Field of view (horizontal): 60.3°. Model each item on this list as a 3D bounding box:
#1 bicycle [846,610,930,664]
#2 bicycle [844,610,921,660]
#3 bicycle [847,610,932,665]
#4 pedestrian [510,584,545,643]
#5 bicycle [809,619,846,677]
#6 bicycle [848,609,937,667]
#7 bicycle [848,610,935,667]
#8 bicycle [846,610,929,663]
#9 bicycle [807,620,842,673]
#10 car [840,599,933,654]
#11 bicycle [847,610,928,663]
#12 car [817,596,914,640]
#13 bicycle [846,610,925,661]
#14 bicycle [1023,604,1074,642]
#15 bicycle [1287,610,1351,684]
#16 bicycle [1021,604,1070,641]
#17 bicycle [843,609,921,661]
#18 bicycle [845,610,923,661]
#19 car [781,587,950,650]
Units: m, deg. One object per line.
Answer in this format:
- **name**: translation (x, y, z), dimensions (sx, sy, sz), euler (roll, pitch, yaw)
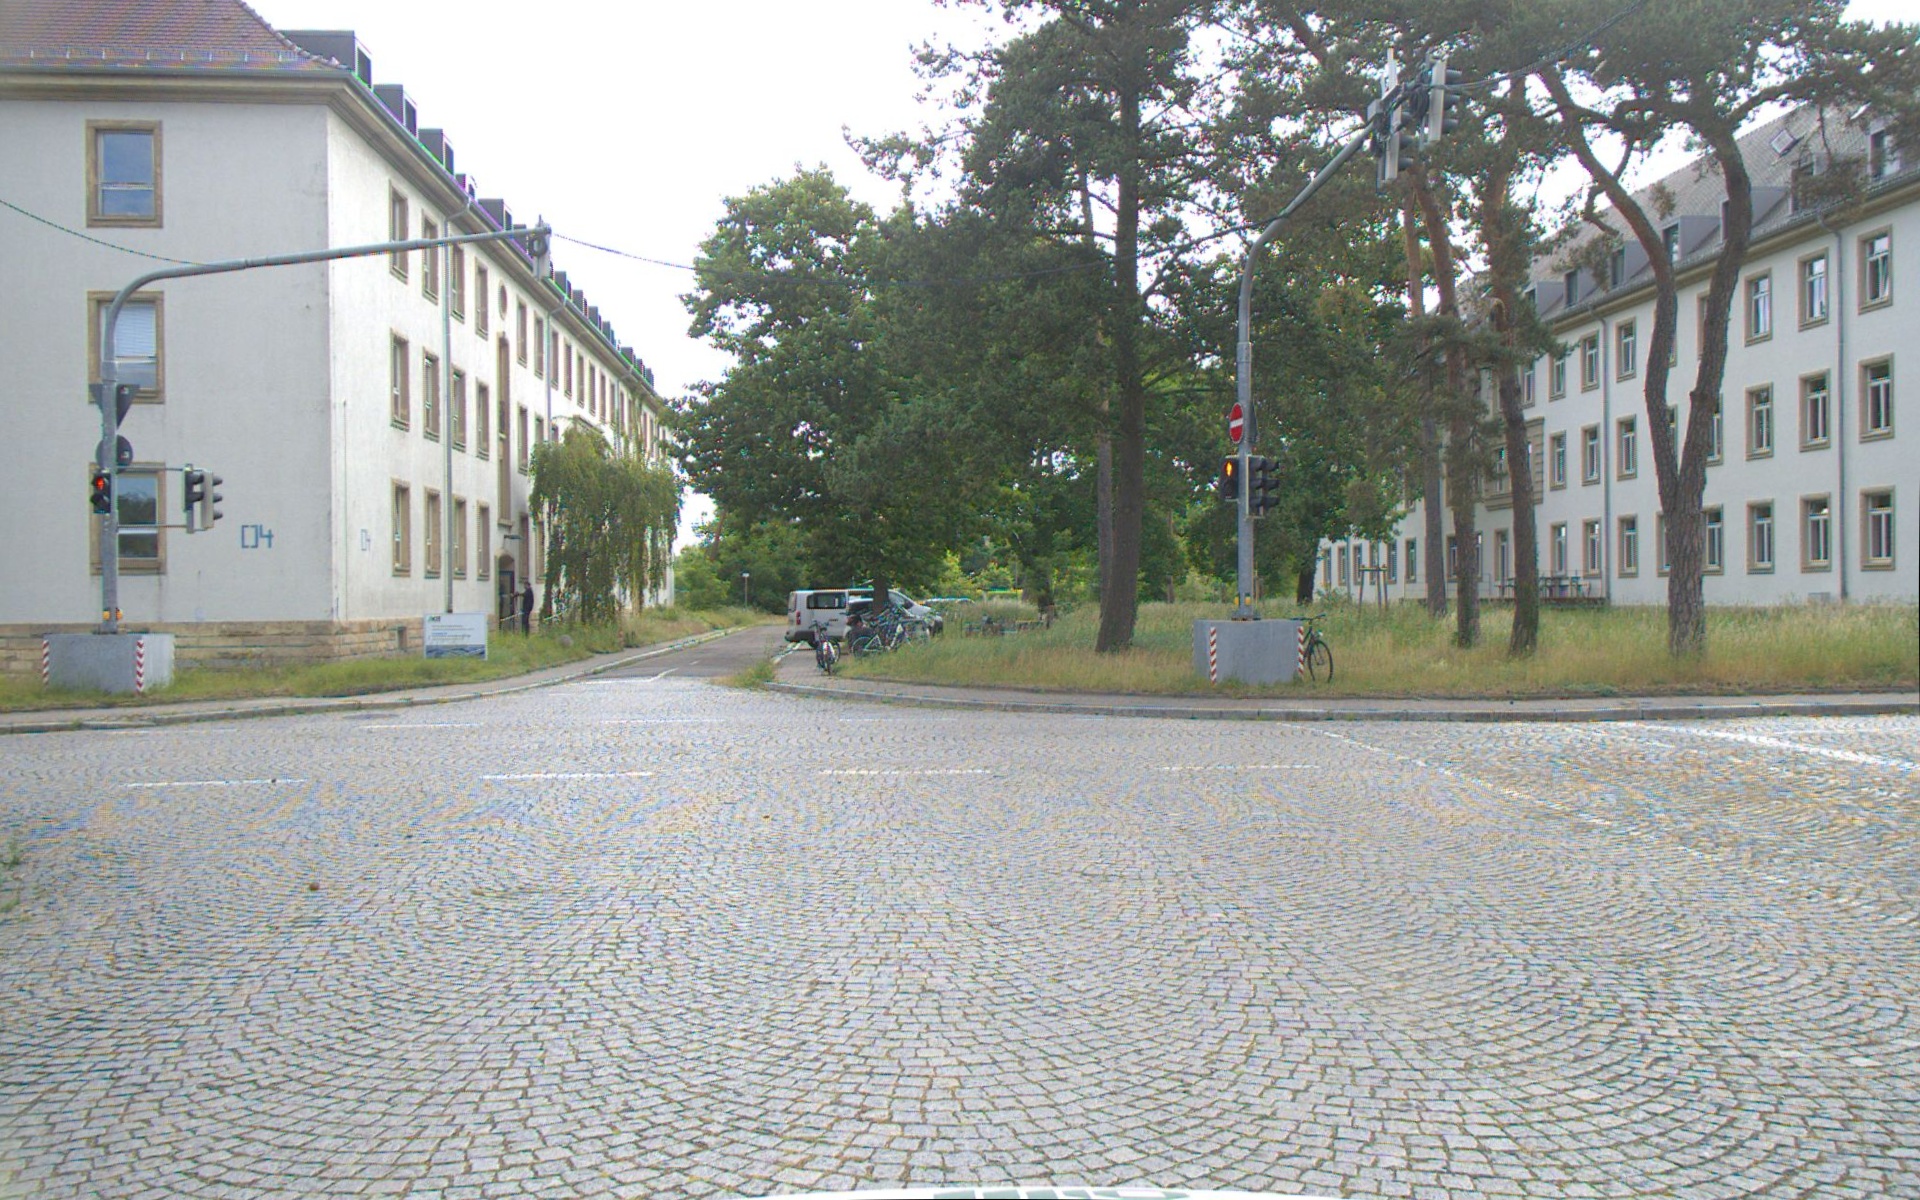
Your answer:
- **bicycle**: translation (-1.708, 0.872, 39.219), dimensions (1.944, 1.269, 0.623), euler (0, -1, -6)
- **bicycle**: translation (-1.990, 0.897, 42.448), dimensions (1.944, 1.269, 0.623), euler (0, -1, -6)
- **bicycle**: translation (-1.642, 0.865, 38.363), dimensions (1.944, 1.269, 0.623), euler (0, -1, -6)
- **pedestrian**: translation (-13.580, 0.417, 51.903), dimensions (0.820, 1.812, 0.941), euler (0, 0, 1)
- **bicycle**: translation (-2.667, 0.947, 33.350), dimensions (0.609, 1.133, 1.988), euler (0, -1, -1)
- **bicycle**: translation (-1.509, 0.853, 36.814), dimensions (1.944, 1.269, 0.623), euler (0, -1, -6)
- **bicycle**: translation (-1.557, 0.858, 37.441), dimensions (1.944, 1.269, 0.623), euler (0, -1, -6)
- **bicycle**: translation (-1.751, 0.877, 39.850), dimensions (1.944, 1.269, 0.623), euler (0, -1, -6)
- **bicycle**: translation (-2.882, 0.978, 35.292), dimensions (0.609, 1.101, 1.677), euler (0, -1, 0)
- **car**: translation (-2.301, 0.806, 51.409), dimensions (2.792, 1.585, 1.471), euler (-1, 1, -5)
- **bicycle**: translation (-1.776, 0.881, 40.375), dimensions (1.944, 1.269, 0.623), euler (0, -1, -6)
- **car**: translation (-3.957, 0.731, 68.687), dimensions (3.953, 1.748, 1.679), euler (-1, -1, -5)
- **bicycle**: translation (-1.874, 0.890, 41.448), dimensions (1.944, 1.269, 0.623), euler (0, -1, -6)
- **bicycle**: translation (2.698, 0.700, 50.700), dimensions (1.518, 1.144, 0.401), euler (-1, 0, -2)
- **bicycle**: translation (5.384, 0.692, 24.861), dimensions (0.568, 0.987, 1.678), euler (-2, 2, 0)
- **bicycle**: translation (2.680, 0.707, 51.932), dimensions (1.518, 1.144, 0.401), euler (-1, 0, -2)
- **bicycle**: translation (-2.041, 0.903, 43.106), dimensions (1.944, 1.269, 0.623), euler (-2, 0, -6)
- **bicycle**: translation (-1.936, 0.894, 41.958), dimensions (1.944, 1.269, 0.623), euler (0, -1, -6)
- **car**: translation (-3.156, 0.595, 54.832), dimensions (5.223, 1.949, 2.138), euler (-1, 0, -19)
